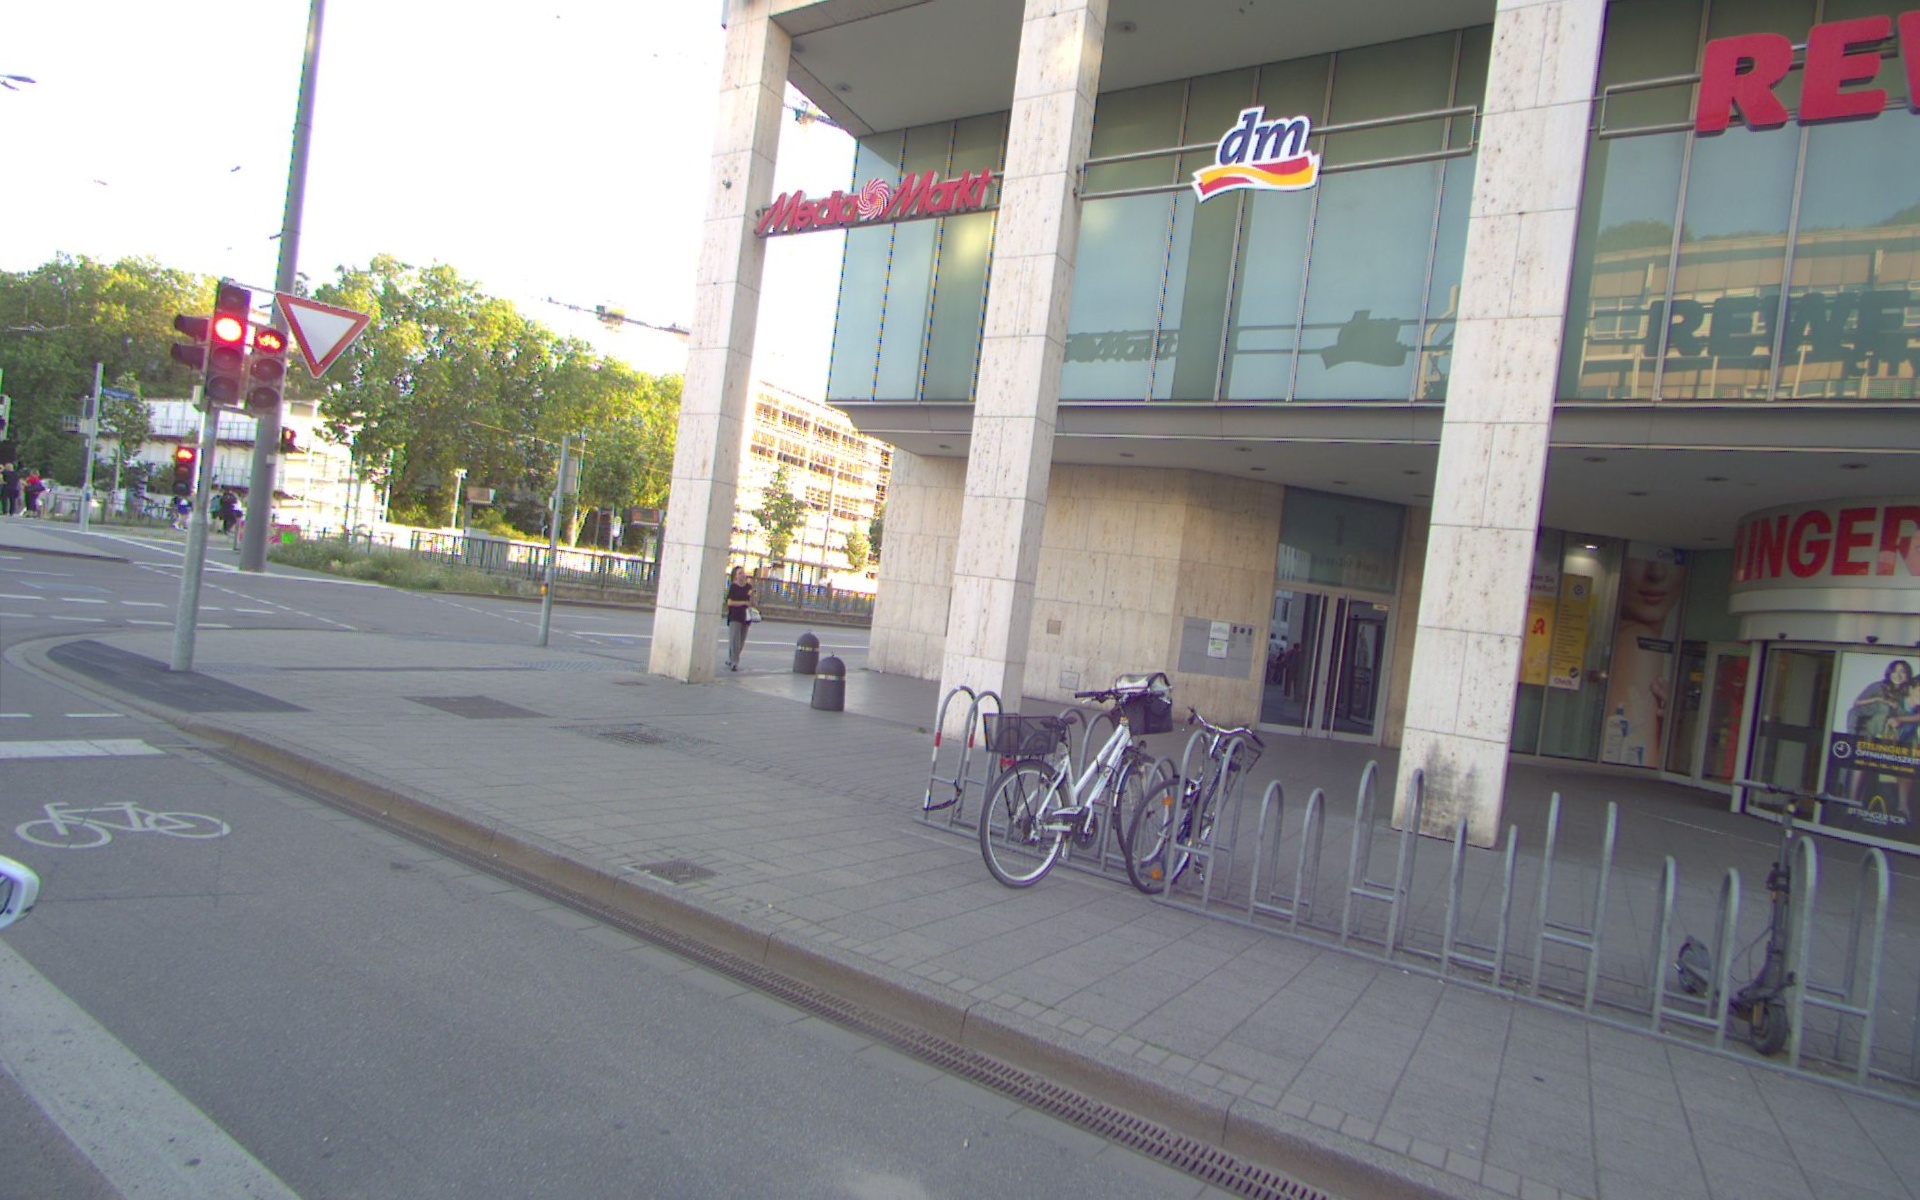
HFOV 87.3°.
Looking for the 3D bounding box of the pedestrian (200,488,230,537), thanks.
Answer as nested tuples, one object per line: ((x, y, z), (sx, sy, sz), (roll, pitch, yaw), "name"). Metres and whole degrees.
((-28.214, -3.327, 38.088), (0.708, 1.746, 0.660), (7, 1, -41), "pedestrian")

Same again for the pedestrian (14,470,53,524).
((-32.694, -3.631, 35.515), (0.696, 1.756, 0.843), (8, 1, 44), "pedestrian")

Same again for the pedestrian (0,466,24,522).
((-32.838, -3.671, 34.595), (0.803, 1.814, 0.790), (7, 1, -44), "pedestrian")

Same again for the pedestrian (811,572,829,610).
((-7.805, -0.496, 56.093), (0.559, 2.039, 0.575), (8, 1, 28), "pedestrian")

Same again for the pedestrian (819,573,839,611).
((-7.263, -0.435, 55.814), (0.631, 2.039, 0.626), (8, 1, 28), "pedestrian")

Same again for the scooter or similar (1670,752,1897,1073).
((3.984, 1.439, 4.957), (0.484, 1.214, 1.196), (8, 1, 27), "scooter or similar")

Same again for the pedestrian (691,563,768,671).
((-3.798, 0.284, 16.593), (0.696, 1.659, 0.791), (8, 1, 33), "pedestrian")

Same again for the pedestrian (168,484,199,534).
((-29.122, -3.415, 37.733), (0.703, 1.746, 0.665), (8, 1, 40), "pedestrian")

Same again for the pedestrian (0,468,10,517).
((-33.982, -3.816, 35.461), (0.570, 1.699, 0.631), (7, 1, -44), "pedestrian")

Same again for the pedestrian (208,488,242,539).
((-27.315, -3.210, 37.379), (0.701, 1.746, 0.667), (8, 1, 32), "pedestrian")

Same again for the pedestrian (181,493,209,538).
((-29.415, -3.245, 38.672), (0.527, 1.612, 0.571), (8, 1, 32), "pedestrian")

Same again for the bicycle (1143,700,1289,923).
((1.671, 1.241, 6.374), (0.474, 1.092, 1.773), (8, 0, 24), "bicycle")

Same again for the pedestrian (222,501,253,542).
((-28.159, -3.058, 39.192), (0.703, 1.459, 0.676), (8, 1, 34), "pedestrian")

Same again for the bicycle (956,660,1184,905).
((0.697, 1.007, 5.927), (0.540, 1.198, 1.479), (8, 1, 36), "bicycle")
